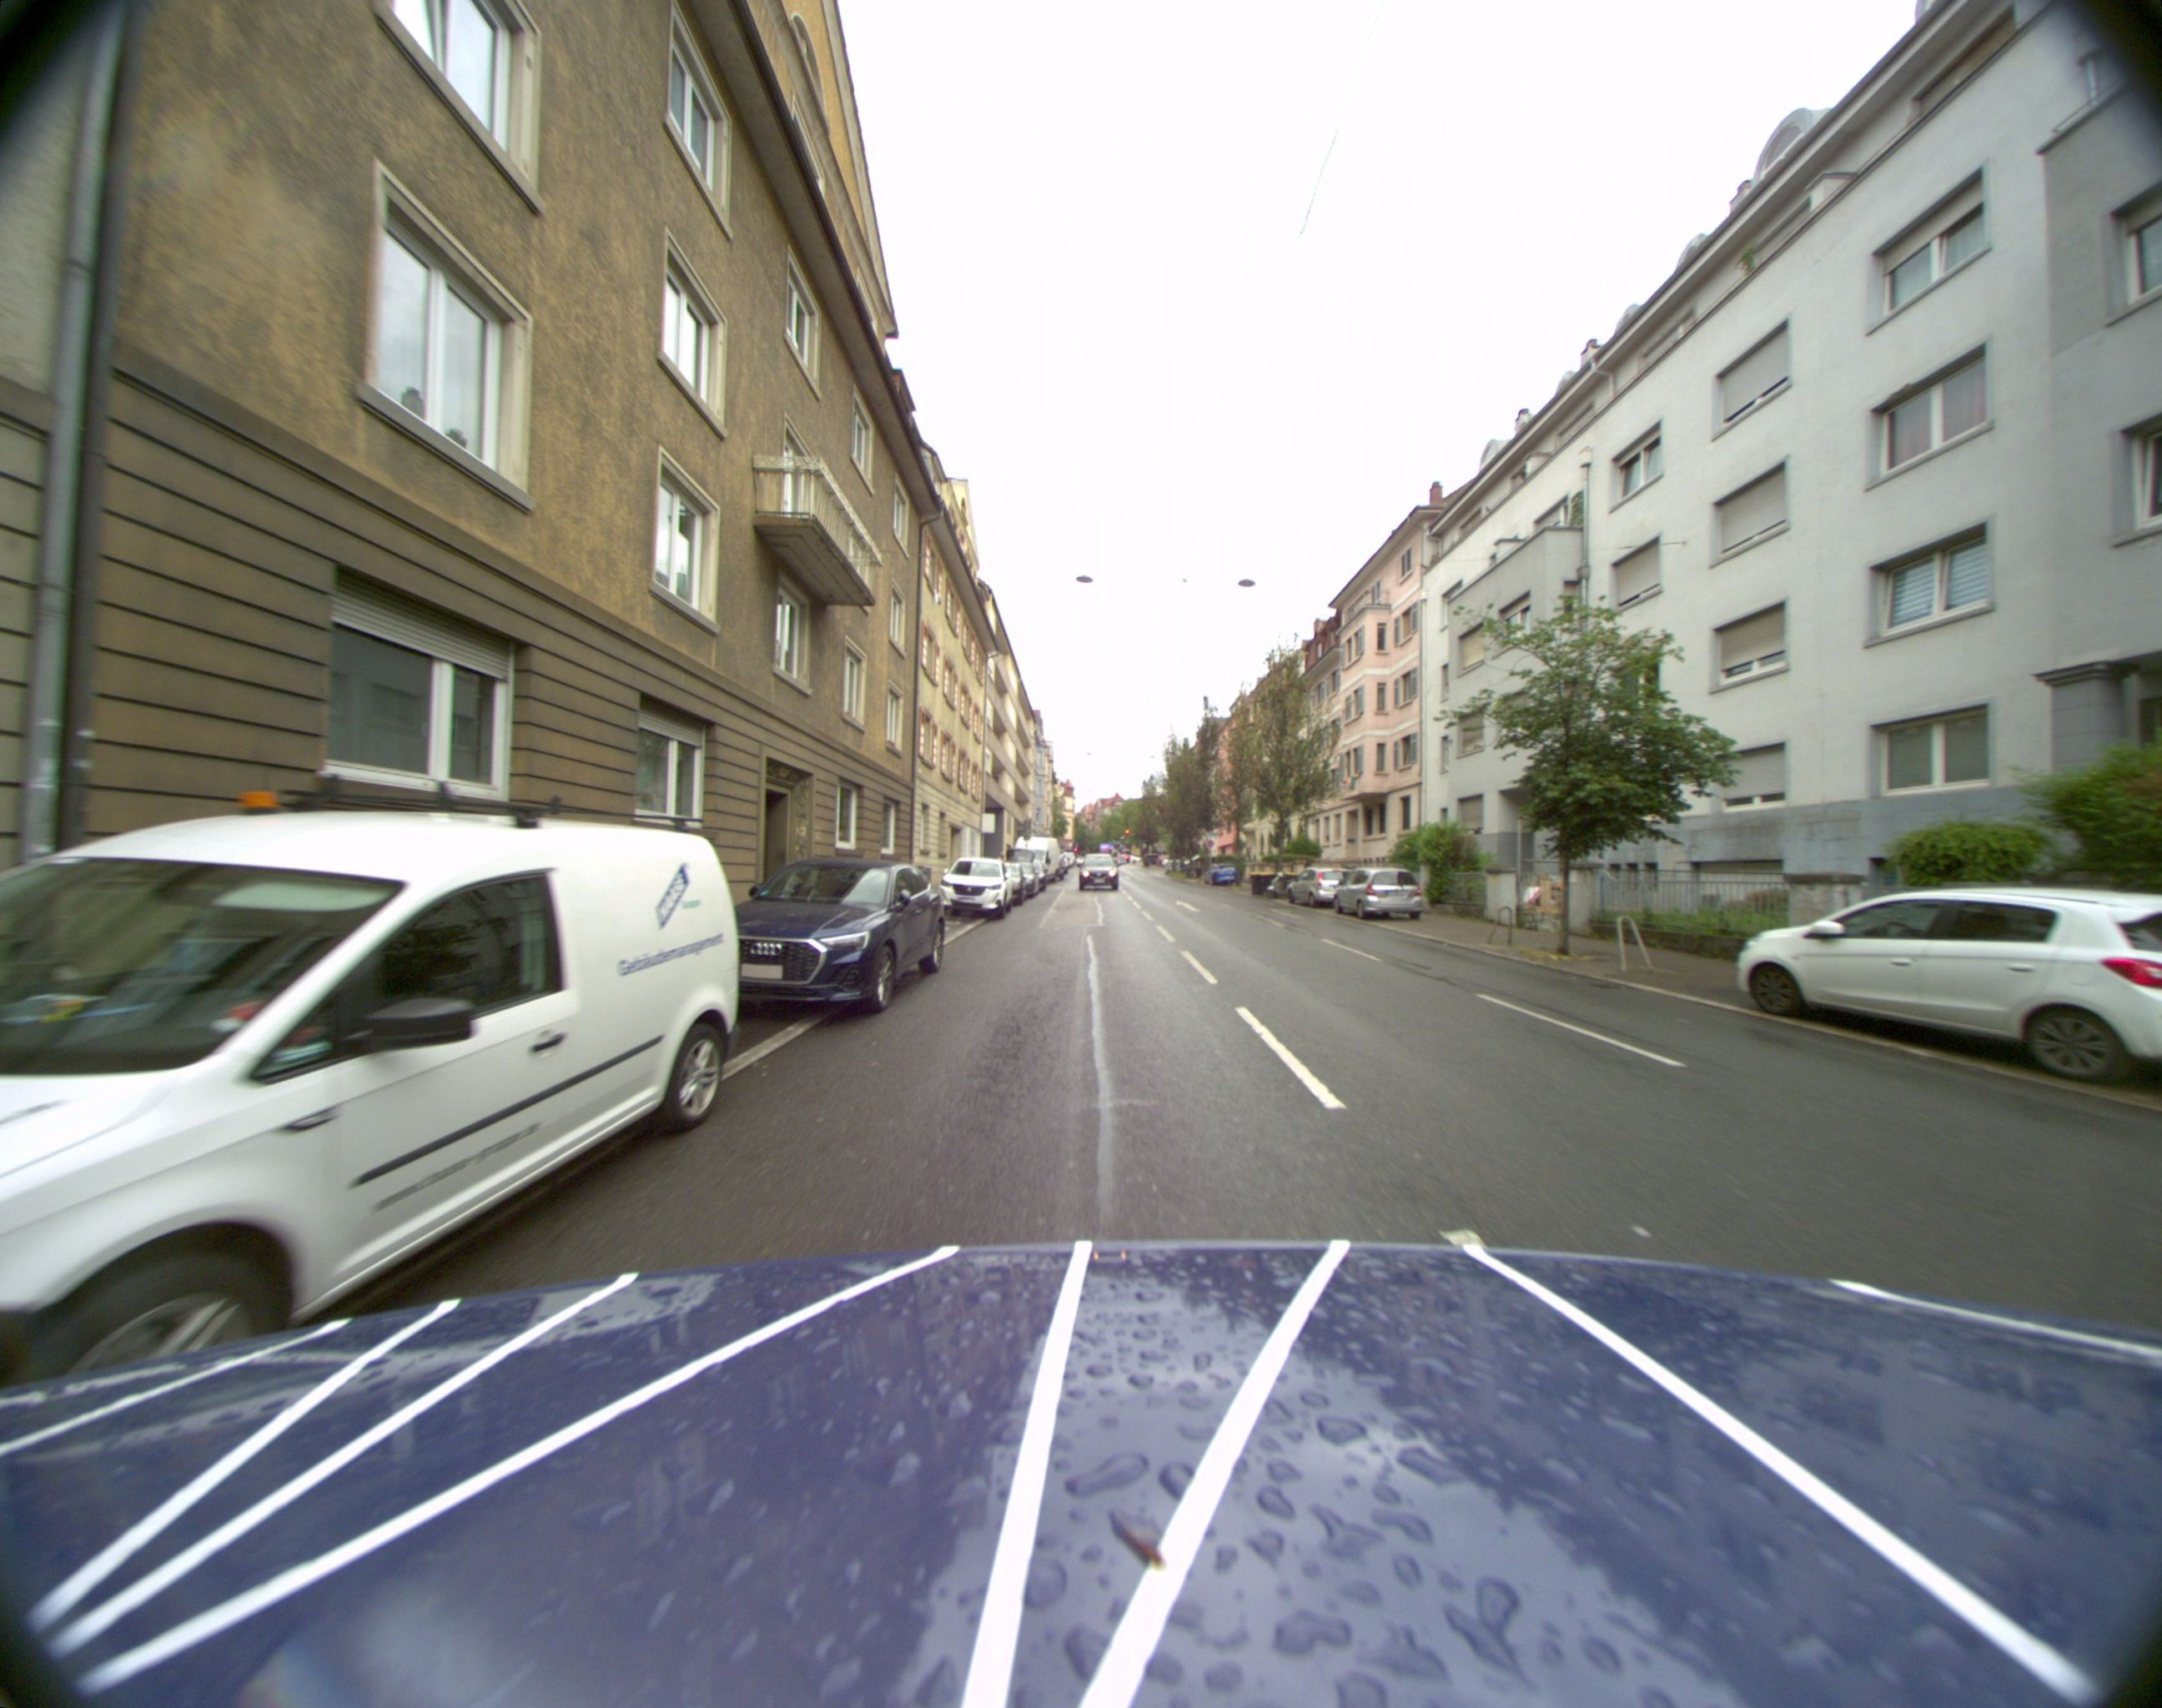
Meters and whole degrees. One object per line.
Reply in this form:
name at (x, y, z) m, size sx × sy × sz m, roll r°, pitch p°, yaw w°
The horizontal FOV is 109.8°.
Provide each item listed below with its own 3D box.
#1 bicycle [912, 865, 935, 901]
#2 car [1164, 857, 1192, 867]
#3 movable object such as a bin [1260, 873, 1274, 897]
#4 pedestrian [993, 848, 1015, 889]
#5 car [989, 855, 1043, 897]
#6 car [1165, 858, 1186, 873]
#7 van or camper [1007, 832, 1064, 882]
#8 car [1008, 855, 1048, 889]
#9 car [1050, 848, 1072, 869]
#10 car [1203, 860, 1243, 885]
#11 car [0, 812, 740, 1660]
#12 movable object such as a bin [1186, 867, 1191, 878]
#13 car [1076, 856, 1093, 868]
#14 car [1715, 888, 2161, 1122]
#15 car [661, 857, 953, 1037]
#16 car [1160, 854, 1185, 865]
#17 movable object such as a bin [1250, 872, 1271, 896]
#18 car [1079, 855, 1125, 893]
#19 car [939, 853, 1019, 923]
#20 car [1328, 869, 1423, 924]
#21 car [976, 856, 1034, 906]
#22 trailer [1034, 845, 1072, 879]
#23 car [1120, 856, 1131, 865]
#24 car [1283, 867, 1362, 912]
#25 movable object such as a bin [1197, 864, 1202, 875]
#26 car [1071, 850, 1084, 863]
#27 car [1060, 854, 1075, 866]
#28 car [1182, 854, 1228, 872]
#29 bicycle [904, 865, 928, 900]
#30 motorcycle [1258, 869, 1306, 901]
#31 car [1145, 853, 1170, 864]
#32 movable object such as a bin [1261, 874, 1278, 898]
bicycle at (-5.285, 0.950, 25.570) m, size 0.248 × 1.067 × 2.106 m, roll 3°, pitch 1°, yaw 1°
car at (14.557, 1.227, 114.166) m, size 3.928 × 1.289 × 1.646 m, roll 2°, pitch 1°, yaw 1°
movable object such as a bin at (8.556, 1.433, 34.929) m, size 0.472 × 1.052 × 0.483 m, roll -2°, pitch 1°, yaw -8°
pedestrian at (-3.429, 0.636, 33.904) m, size 0.688 × 1.777 × 0.711 m, roll 2°, pitch 2°, yaw -27°
car at (-2.585, 0.849, 31.259) m, size 1.782 × 1.471 × 4.587 m, roll 1°, pitch 1°, yaw 0°
car at (9.603, 1.127, 77.460) m, size 1.685 × 1.409 × 4.137 m, roll 2°, pitch 0°, yaw 1°
van or camper at (-2.592, 0.170, 44.918) m, size 2.188 × 2.683 × 6.423 m, roll 2°, pitch 0°, yaw 7°
car at (-2.520, 0.828, 36.696) m, size 1.782 × 1.471 × 4.188 m, roll 1°, pitch 1°, yaw -2°
car at (-1.968, 0.446, 76.344) m, size 1.994 × 1.944 × 4.822 m, roll 2°, pitch 0°, yaw 0°
car at (9.052, 1.168, 48.797) m, size 1.683 × 1.378 × 4.602 m, roll 1°, pitch 1°, yaw 1°
car at (-3.162, 0.783, 2.911) m, size 1.795 × 1.807 × 4.080 m, roll 2°, pitch 0°, yaw 0°
movable object such as a bin at (8.703, 1.464, 61.503) m, size 0.365 × 0.884 × 0.572 m, roll -1°, pitch 0°, yaw 0°
car at (0.486, 1.034, 96.411) m, size 1.670 × 1.464 × 3.649 m, roll 0°, pitch 1°, yaw -8°
car at (8.484, 1.167, 7.244) m, size 1.650 × 1.499 × 3.796 m, roll 0°, pitch 0°, yaw -1°
car at (-2.836, 0.851, 8.971) m, size 1.795 × 1.539 × 4.226 m, roll 2°, pitch 0°, yaw 1°
car at (14.956, 0.926, 124.348) m, size 3.928 × 1.613 × 1.592 m, roll 2°, pitch 1°, yaw 1°
movable object such as a bin at (8.367, 1.398, 35.431) m, size 0.827 × 1.052 × 0.483 m, roll -2°, pitch 1°, yaw 2°
car at (0.936, 0.879, 35.551) m, size 1.890 × 1.543 × 3.999 m, roll -2°, pitch 1°, yaw -1°
car at (-2.743, 0.850, 21.217) m, size 1.636 × 1.629 × 4.194 m, roll 4°, pitch 0°, yaw -1°
car at (8.782, 1.229, 22.975) m, size 1.604 × 1.442 × 3.889 m, roll -1°, pitch 0°, yaw 4°
car at (-2.603, 0.894, 26.668) m, size 1.636 × 1.470 × 3.734 m, roll 4°, pitch 0°, yaw -1°
trailer at (-1.849, 0.567, 52.006) m, size 1.998 × 2.139 × 5.074 m, roll 3°, pitch -1°, yaw 3°
car at (8.063, 1.097, 137.465) m, size 1.772 × 1.540 × 3.652 m, roll 0°, pitch 1°, yaw 0°
car at (8.750, 1.236, 27.860) m, size 1.605 × 1.388 × 3.886 m, roll 1°, pitch 1°, yaw 0°
movable object such as a bin at (9.607, 1.255, 61.525) m, size 0.365 × 0.906 × 0.572 m, roll -1°, pitch 1°, yaw 0°
car at (-0.500, 0.385, 114.587) m, size 1.826 × 1.808 × 4.520 m, roll 2°, pitch 0°, yaw 1°
car at (-1.713, 0.765, 96.578) m, size 1.709 × 1.434 × 3.933 m, roll 2°, pitch 0°, yaw 1°
car at (13.551, 0.998, 83.288) m, size 4.731 × 1.894 × 1.918 m, roll 0°, pitch 1°, yaw -1°
bicycle at (-5.534, 0.938, 25.546) m, size 0.248 × 1.067 × 2.106 m, roll 3°, pitch 1°, yaw 1°
motorcycle at (8.542, 1.301, 32.297) m, size 1.806 × 1.307 × 0.743 m, roll 2°, pitch 0°, yaw 42°
car at (12.778, 0.737, 127.110) m, size 3.929 × 1.836 × 1.867 m, roll 2°, pitch 1°, yaw -2°
movable object such as a bin at (8.472, 1.435, 34.155) m, size 0.526 × 1.052 × 0.482 m, roll -2°, pitch 2°, yaw -21°
